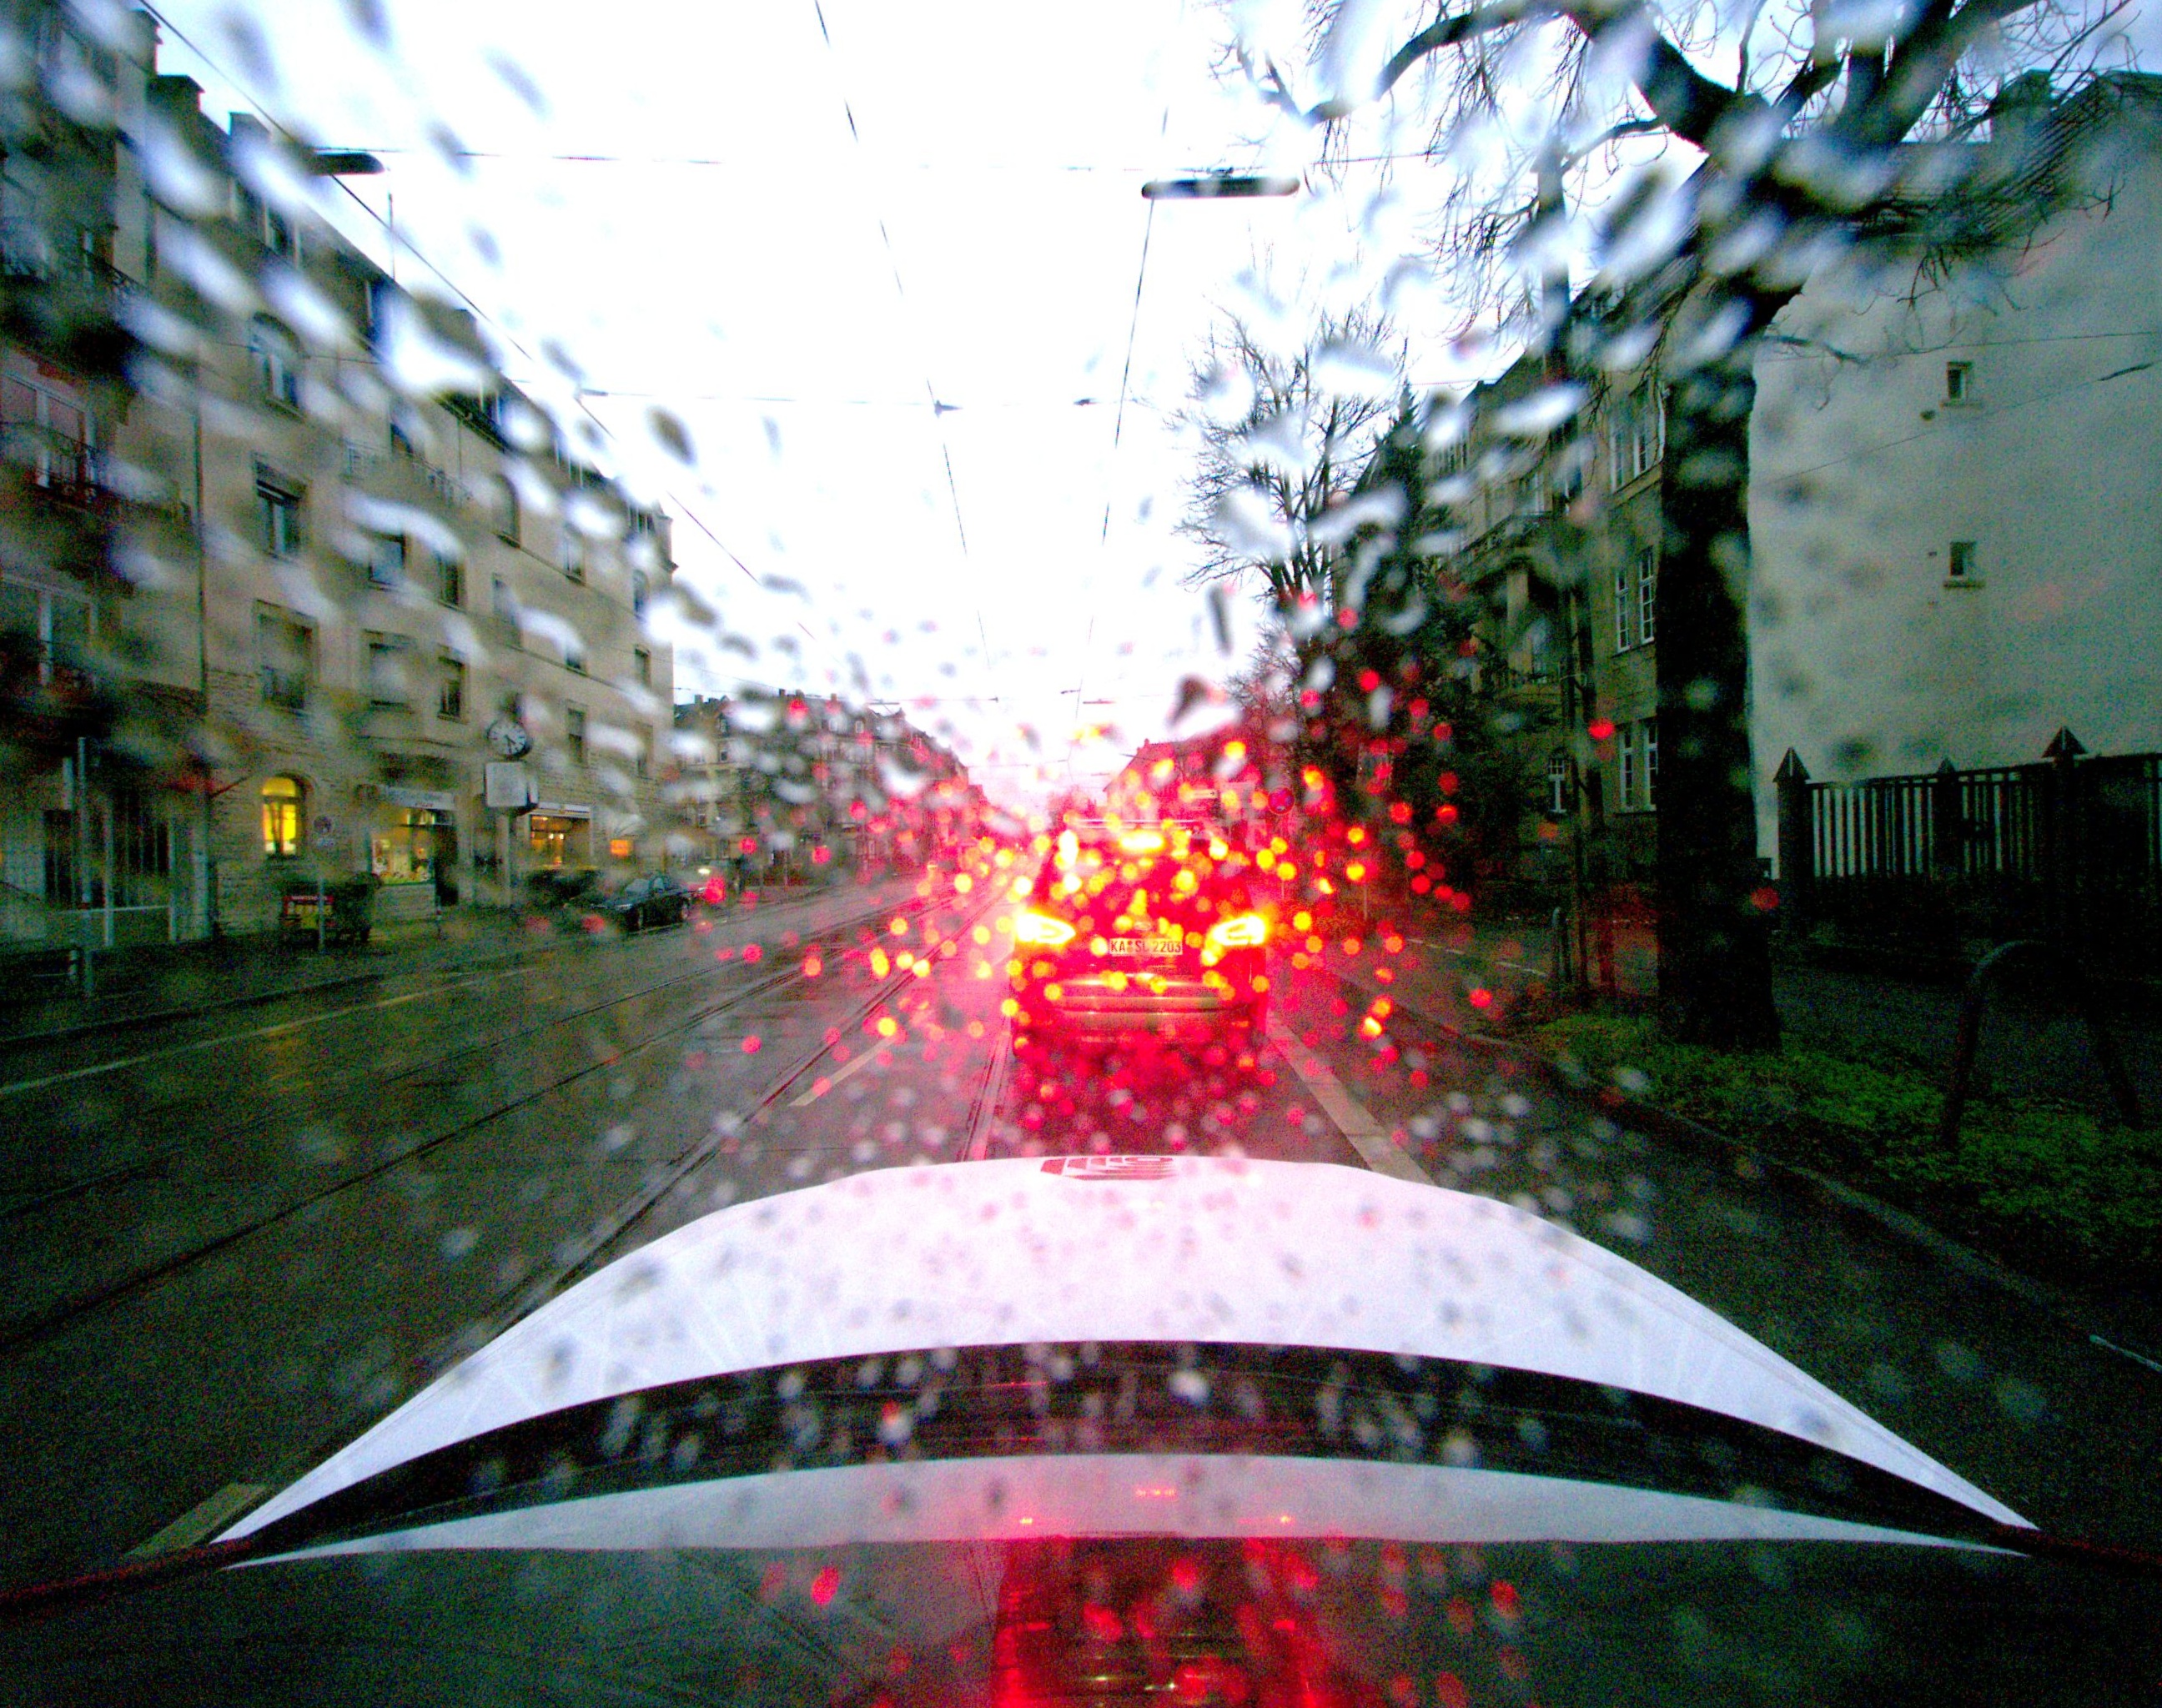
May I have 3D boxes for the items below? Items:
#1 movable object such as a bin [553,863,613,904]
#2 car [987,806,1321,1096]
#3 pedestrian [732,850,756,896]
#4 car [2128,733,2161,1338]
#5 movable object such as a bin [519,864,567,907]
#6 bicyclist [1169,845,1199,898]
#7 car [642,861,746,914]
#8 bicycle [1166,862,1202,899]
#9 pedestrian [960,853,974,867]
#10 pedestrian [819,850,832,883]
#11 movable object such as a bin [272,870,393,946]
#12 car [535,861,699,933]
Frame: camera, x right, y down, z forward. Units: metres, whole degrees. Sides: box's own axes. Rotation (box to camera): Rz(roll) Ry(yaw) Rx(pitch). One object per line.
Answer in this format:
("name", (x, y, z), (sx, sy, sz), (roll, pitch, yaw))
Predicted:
("movable object such as a bin", (-17.368, 1.017, 28.429), (1.290, 1.367, 1.251), (-1, 0, -2))
("car", (0.478, 0.605, 7.465), (2.097, 1.816, 4.660), (0, 0, 0))
("pedestrian", (-14.862, 0.843, 35.872), (0.748, 2.014, 0.652), (-1, -1, 34))
("car", (4.417, 0.538, 0.132), (2.025, 1.875, 4.959), (-2, 0, -2))
("movable object such as a bin", (-17.855, 1.029, 27.053), (0.896, 1.377, 1.006), (-1, 0, -2))
("bicyclist", (3.372, 0.568, 26.789), (0.716, 1.662, 1.054), (2, 0, -6))
("car", (-13.380, 1.114, 28.433), (2.035, 1.551, 4.022), (2, 0, -7))
("bicycle", (3.364, 0.851, 26.760), (0.716, 1.112, 1.937), (3, 0, -6))
("pedestrian", (-9.553, 0.496, 68.346), (1.044, 1.200, 0.884), (-1, -1, -1))
("pedestrian", (-15.833, 0.745, 50.528), (0.707, 2.013, 0.656), (-1, 0, -21))
("movable object such as a bin", (-15.040, 1.060, 16.415), (1.264, 1.420, 1.249), (-1, 0, -2))
("car", (-12.464, 1.086, 22.295), (1.982, 1.645, 4.623), (3, -1, -4))
